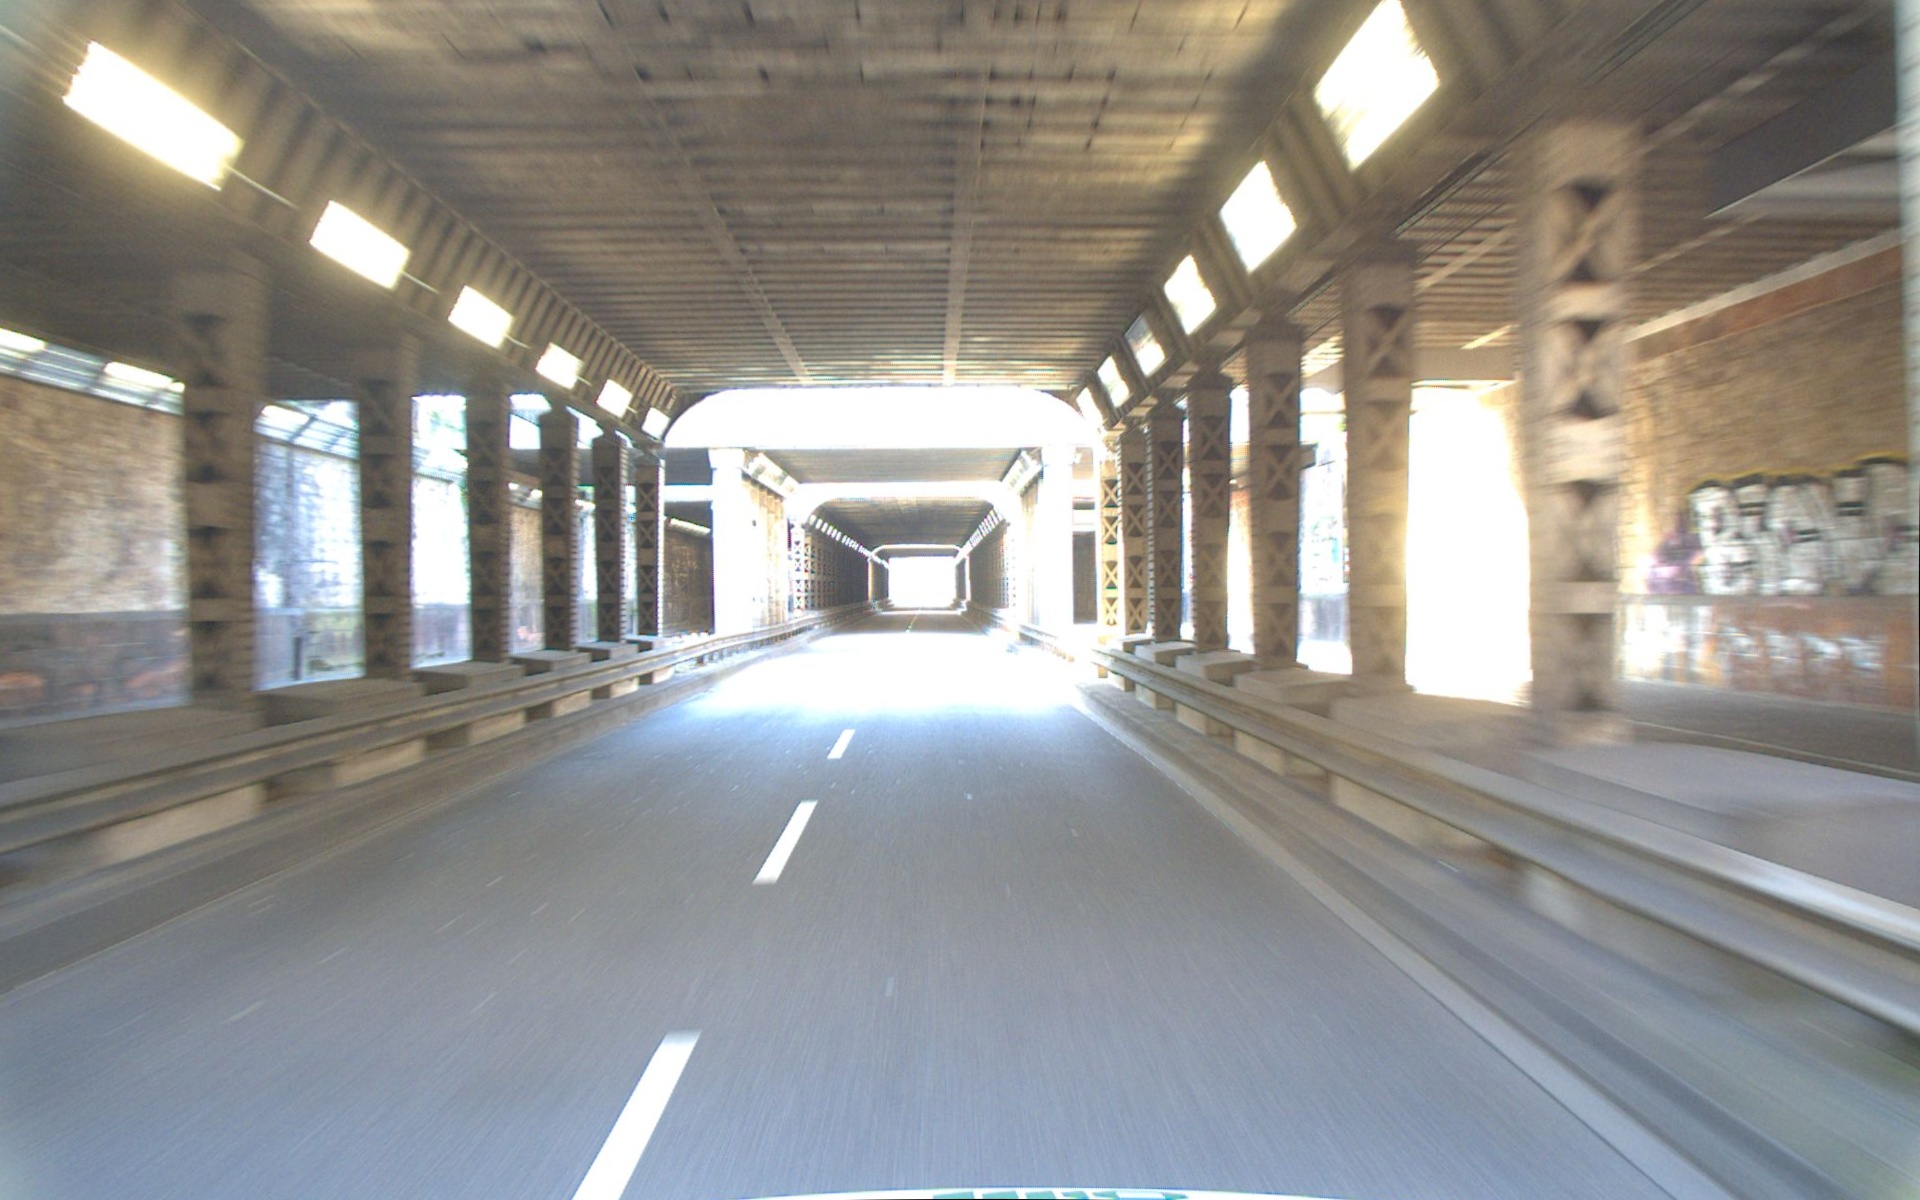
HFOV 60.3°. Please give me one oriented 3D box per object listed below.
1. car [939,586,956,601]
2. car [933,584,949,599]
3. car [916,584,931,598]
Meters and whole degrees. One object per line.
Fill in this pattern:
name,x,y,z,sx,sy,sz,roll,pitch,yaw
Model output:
car,-1.524,-0.775,196.767,1.953,1.815,3.999,0,0,-1
car,-2.326,-1.027,206.130,1.953,1.815,3.999,0,0,-1
car,-4.671,-1.111,212.637,1.953,1.815,3.999,0,0,-1
